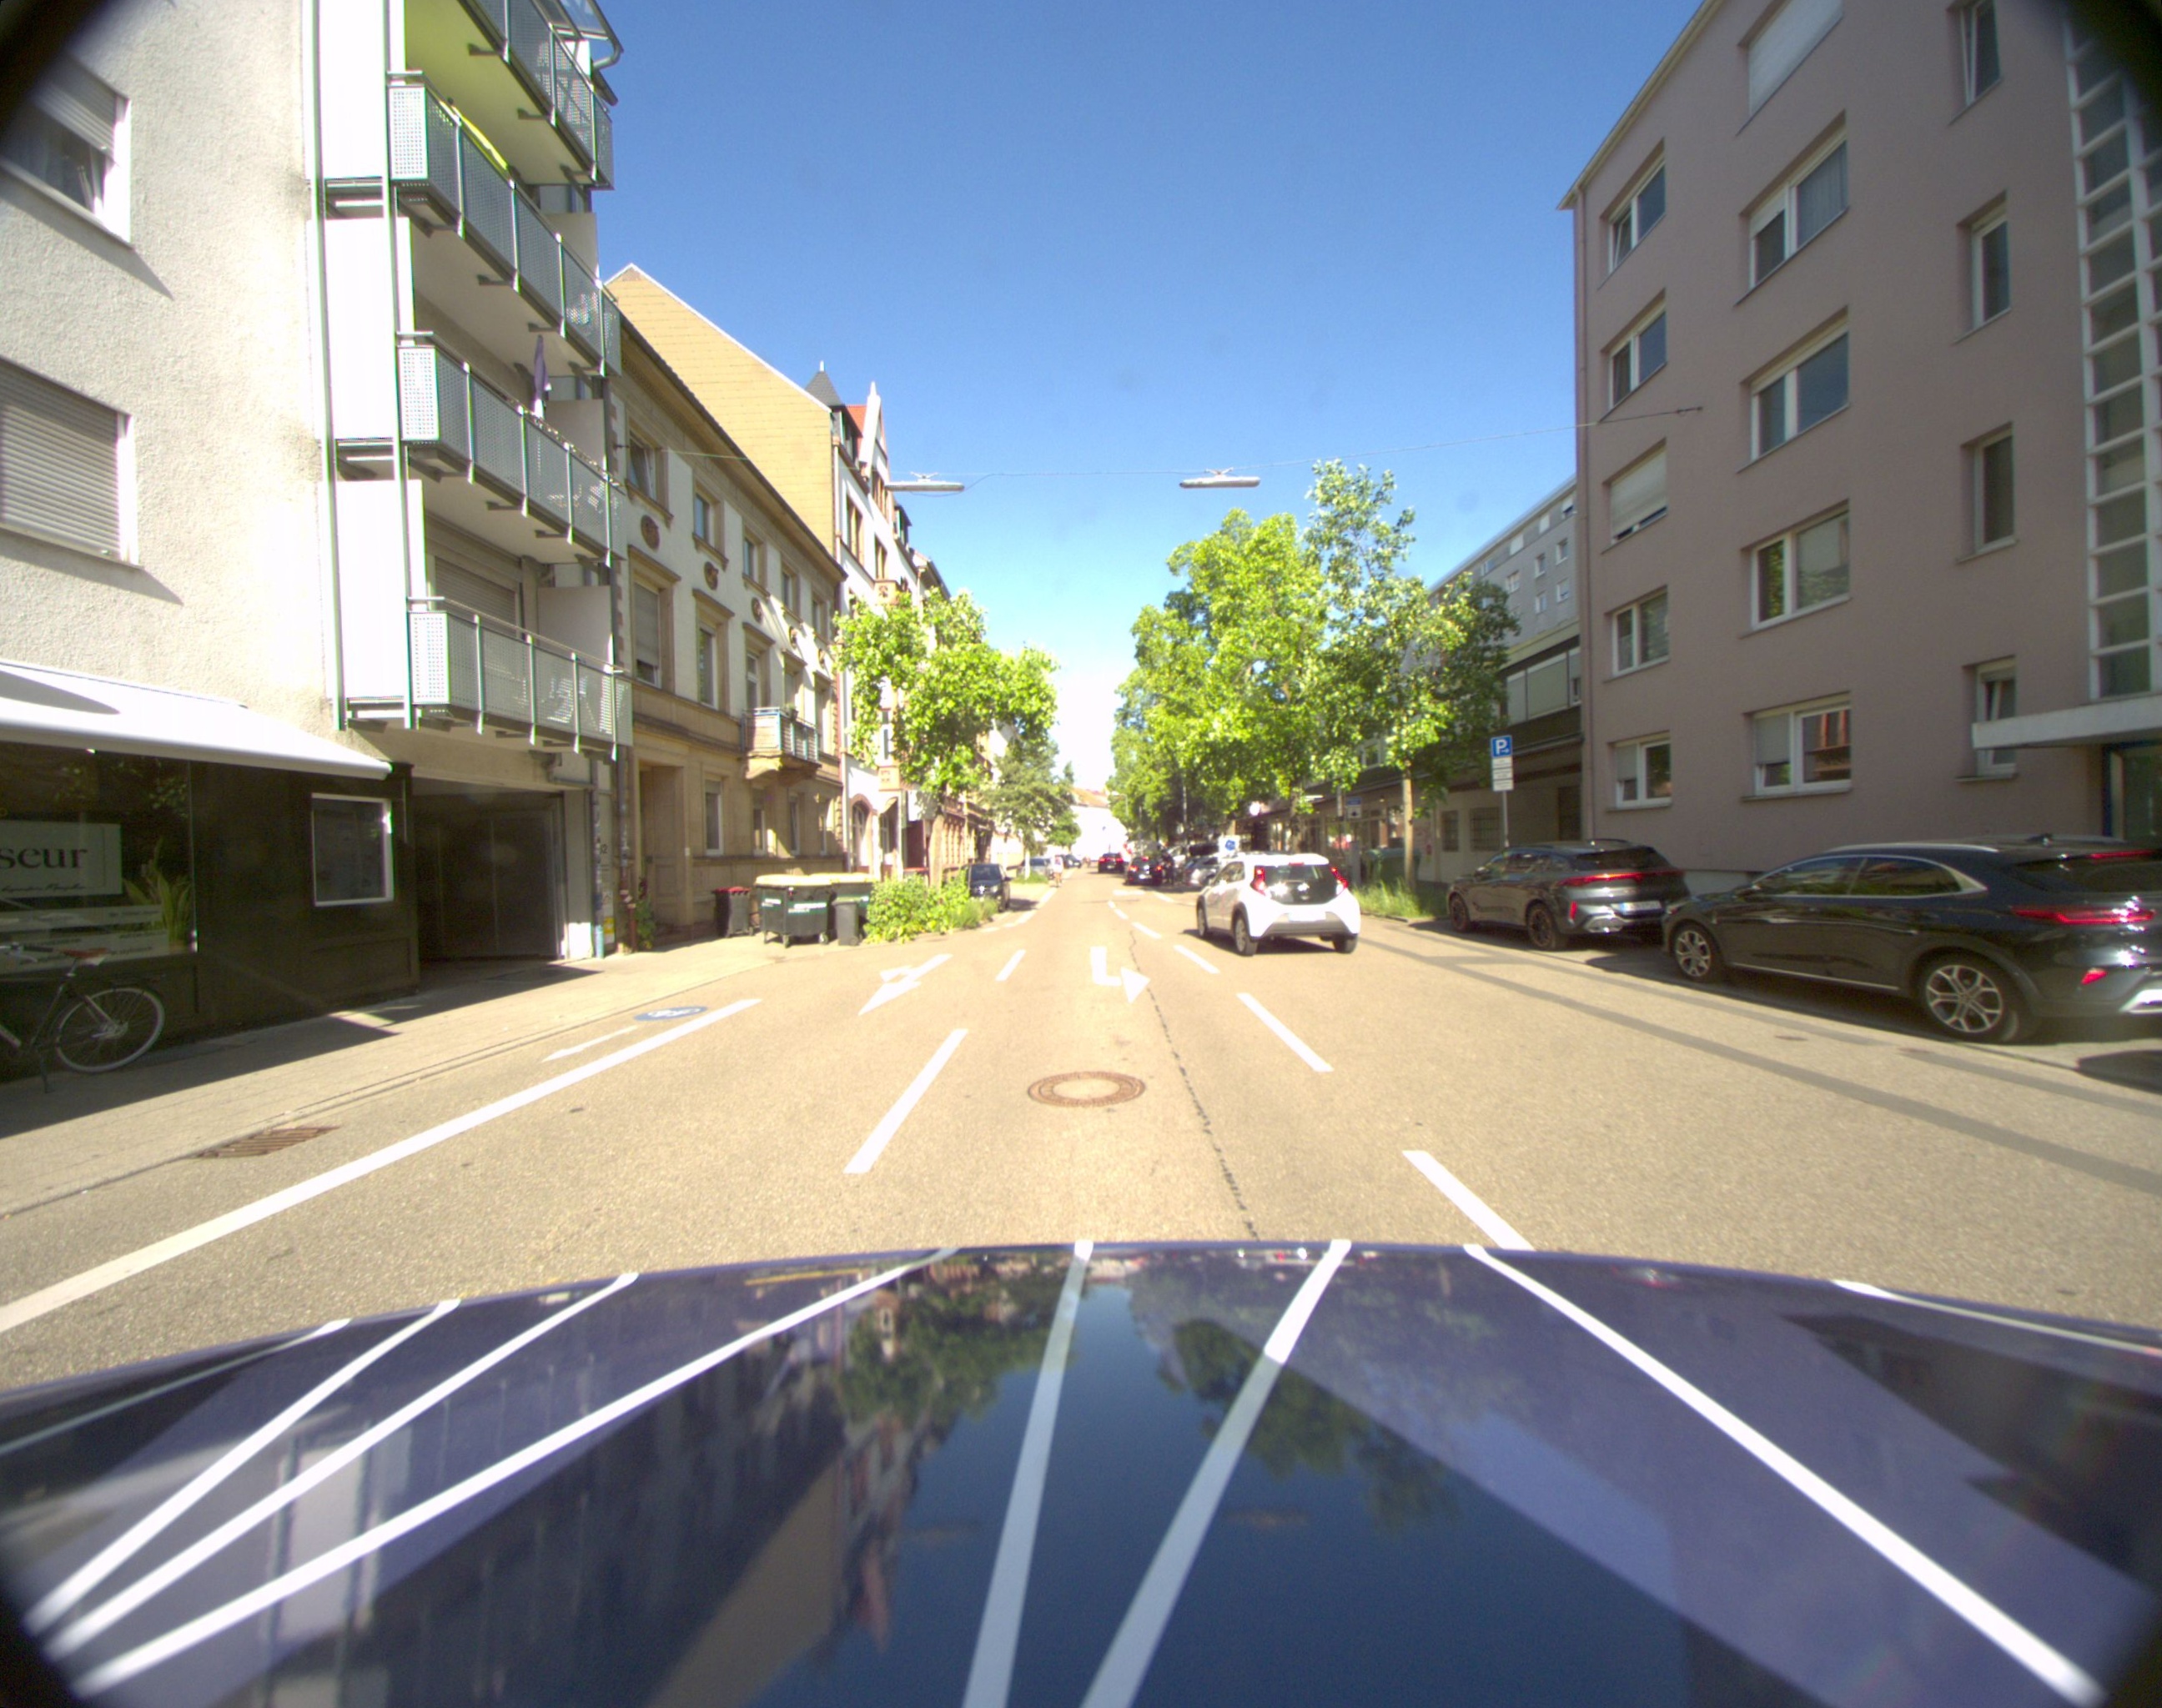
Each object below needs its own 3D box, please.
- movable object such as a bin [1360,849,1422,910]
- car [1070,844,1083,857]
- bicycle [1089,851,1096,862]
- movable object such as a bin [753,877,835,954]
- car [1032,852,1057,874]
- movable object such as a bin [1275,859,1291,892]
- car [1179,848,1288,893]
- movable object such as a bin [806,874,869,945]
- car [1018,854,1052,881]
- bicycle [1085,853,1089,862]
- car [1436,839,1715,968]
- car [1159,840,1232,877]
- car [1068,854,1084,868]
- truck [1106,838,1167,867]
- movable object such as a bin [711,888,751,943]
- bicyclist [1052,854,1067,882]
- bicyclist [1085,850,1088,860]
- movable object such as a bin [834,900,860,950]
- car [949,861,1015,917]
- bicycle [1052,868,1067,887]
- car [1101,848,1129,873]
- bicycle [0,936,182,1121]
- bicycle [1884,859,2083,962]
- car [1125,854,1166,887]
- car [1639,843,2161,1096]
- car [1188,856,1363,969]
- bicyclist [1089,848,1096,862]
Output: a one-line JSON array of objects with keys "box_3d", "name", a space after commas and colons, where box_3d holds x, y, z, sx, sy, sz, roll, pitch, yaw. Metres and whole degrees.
[{"box_3d": [8.137, 0.645, 19.992, 1.247, 1.536, 1.019, -1, 1, 5], "name": "movable object such as a bin"}, {"box_3d": [-0.664, -0.551, 126.533, 1.998, 2.002, 4.000, -2, 0, 1], "name": "car"}, {"box_3d": [1.358, 0.290, 89.093, 0.778, 1.139, 2.259, -3, 1, 1], "name": "bicycle"}, {"box_3d": [-5.587, 1.162, 14.777, 1.212, 1.318, 1.052, 2, 3, 42], "name": "movable object such as a bin"}, {"box_3d": [-2.628, 0.654, 55.202, 1.653, 1.483, 3.290, -2, 0, 0], "name": "car"}, {"box_3d": [7.622, 0.792, 28.675, 0.488, 1.218, 0.409, -2, 1, 1], "name": "movable object such as a bin"}, {"box_3d": [6.091, 0.643, 30.668, 3.997, 1.665, 2.000, -2, 1, 1], "name": "car"}, {"box_3d": [-5.083, 1.125, 15.854, 0.960, 1.341, 1.066, -1, 2, -38], "name": "movable object such as a bin"}, {"box_3d": [-2.741, 0.767, 45.888, 1.759, 1.492, 3.949, -2, 0, 0], "name": "car"}, {"box_3d": [0.830, 0.468, 107.186, 0.422, 1.292, 1.762, -2, 0, 0], "name": "bicycle"}, {"box_3d": [7.592, 0.655, 12.256, 1.821, 1.583, 4.141, -5, 0, 2], "name": "car"}, {"box_3d": [6.710, 0.271, 44.776, 3.997, 2.020, 2.000, -2, 1, 1], "name": "car"}, {"box_3d": [-0.498, 0.770, 82.887, 1.653, 1.447, 3.290, -2, 0, 1], "name": "car"}, {"box_3d": [5.218, -0.173, 71.604, 5.322, 2.581, 1.998, -2, 1, -9], "name": "truck"}, {"box_3d": [-7.317, 1.272, 15.893, 0.615, 1.075, 0.568, 2, 3, 42], "name": "movable object such as a bin"}, {"box_3d": [-1.075, 0.699, 37.927, 0.610, 1.338, 1.018, -1, 0, -5], "name": "bicyclist"}, {"box_3d": [0.821, 0.188, 107.189, 0.417, 1.415, 0.324, -2, 1, 1], "name": "bicyclist"}, {"box_3d": [-4.577, 1.386, 14.889, 0.401, 0.916, 0.484, 0, 2, -7], "name": "movable object such as a bin"}, {"box_3d": [-2.967, 1.015, 23.365, 1.551, 1.483, 3.351, -2, 0, 0], "name": "car"}, {"box_3d": [-1.072, 1.158, 37.980, 0.612, 0.876, 1.813, -1, -1, -5], "name": "bicycle"}, {"box_3d": [2.561, 0.491, 57.818, 1.994, 1.599, 4.259, -3, 3, 1], "name": "car"}, {"box_3d": [-7.745, 1.282, 5.446, 0.402, 1.171, 1.792, -2, 0, 1], "name": "bicycle"}, {"box_3d": [10.762, 0.627, 9.153, 0.391, 1.070, 1.650, -6, 1, 2], "name": "bicycle"}, {"box_3d": [3.137, 0.763, 37.629, 1.867, 1.455, 4.000, -2, 0, 3], "name": "car"}, {"box_3d": [7.517, 0.717, 6.905, 1.821, 1.499, 4.245, -4, 0, 2], "name": "car"}, {"box_3d": [3.027, 0.829, 12.627, 1.770, 1.528, 3.785, -2, 0, -2], "name": "car"}, {"box_3d": [1.347, 0.065, 89.087, 0.748, 1.588, 0.613, -3, 1, 1], "name": "bicyclist"}]
